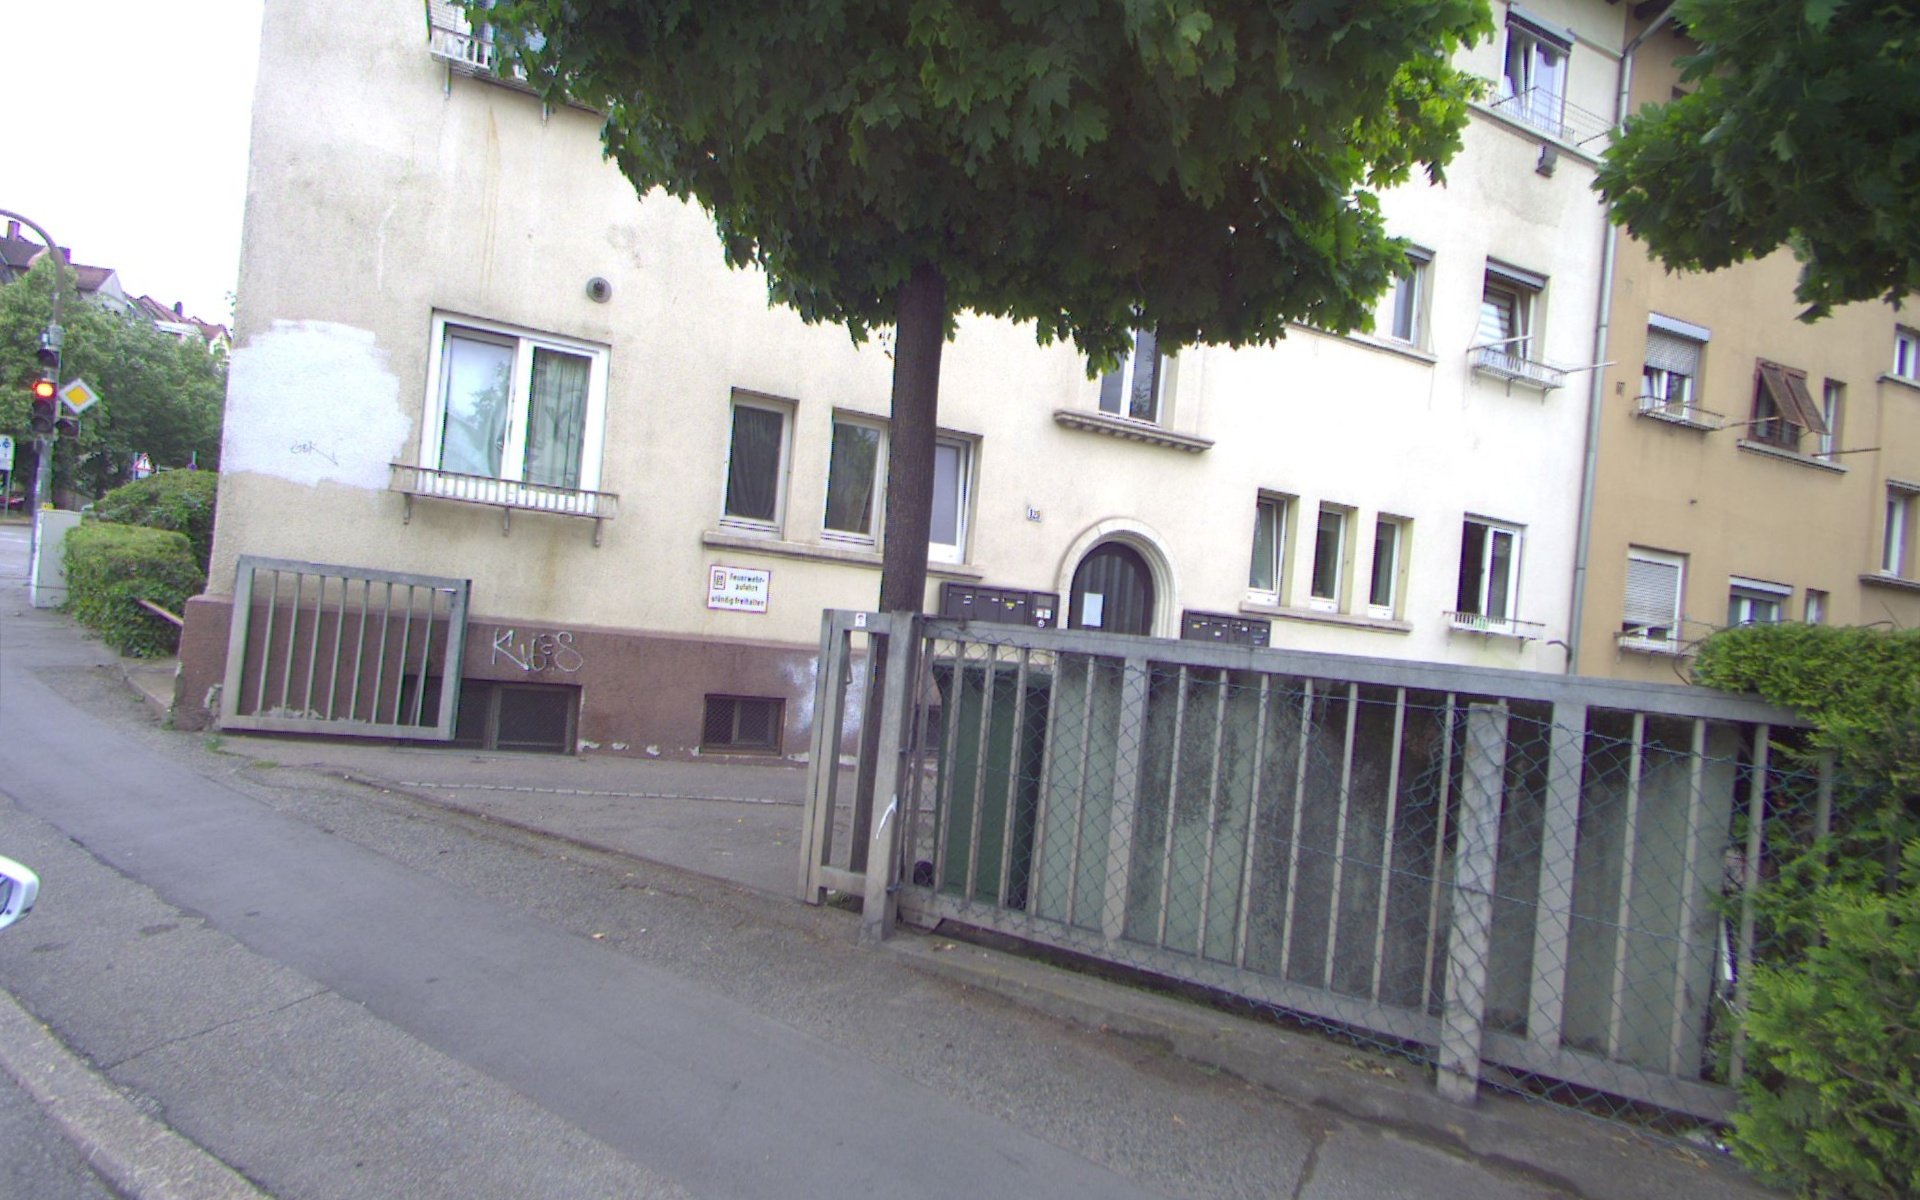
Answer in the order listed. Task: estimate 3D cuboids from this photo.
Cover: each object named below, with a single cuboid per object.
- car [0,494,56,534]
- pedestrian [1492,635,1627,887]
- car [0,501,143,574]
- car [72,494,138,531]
[{"bbox_3d":[-60.880,-5.592,64.925,1.970,2.036,3.992,8,-3,-15],"label":"car"},{"bbox_3d":[4.530,1.187,7.639,0.683,1.759,0.466,7,0,28],"label":"pedestrian"},{"bbox_3d":[-33.188,-2.294,37.275,3.928,2.036,2.001,7,-2,-3],"label":"car"},{"bbox_3d":[-63.146,-6.439,74.373,1.970,2.036,3.992,8,-3,-15],"label":"car"}]
